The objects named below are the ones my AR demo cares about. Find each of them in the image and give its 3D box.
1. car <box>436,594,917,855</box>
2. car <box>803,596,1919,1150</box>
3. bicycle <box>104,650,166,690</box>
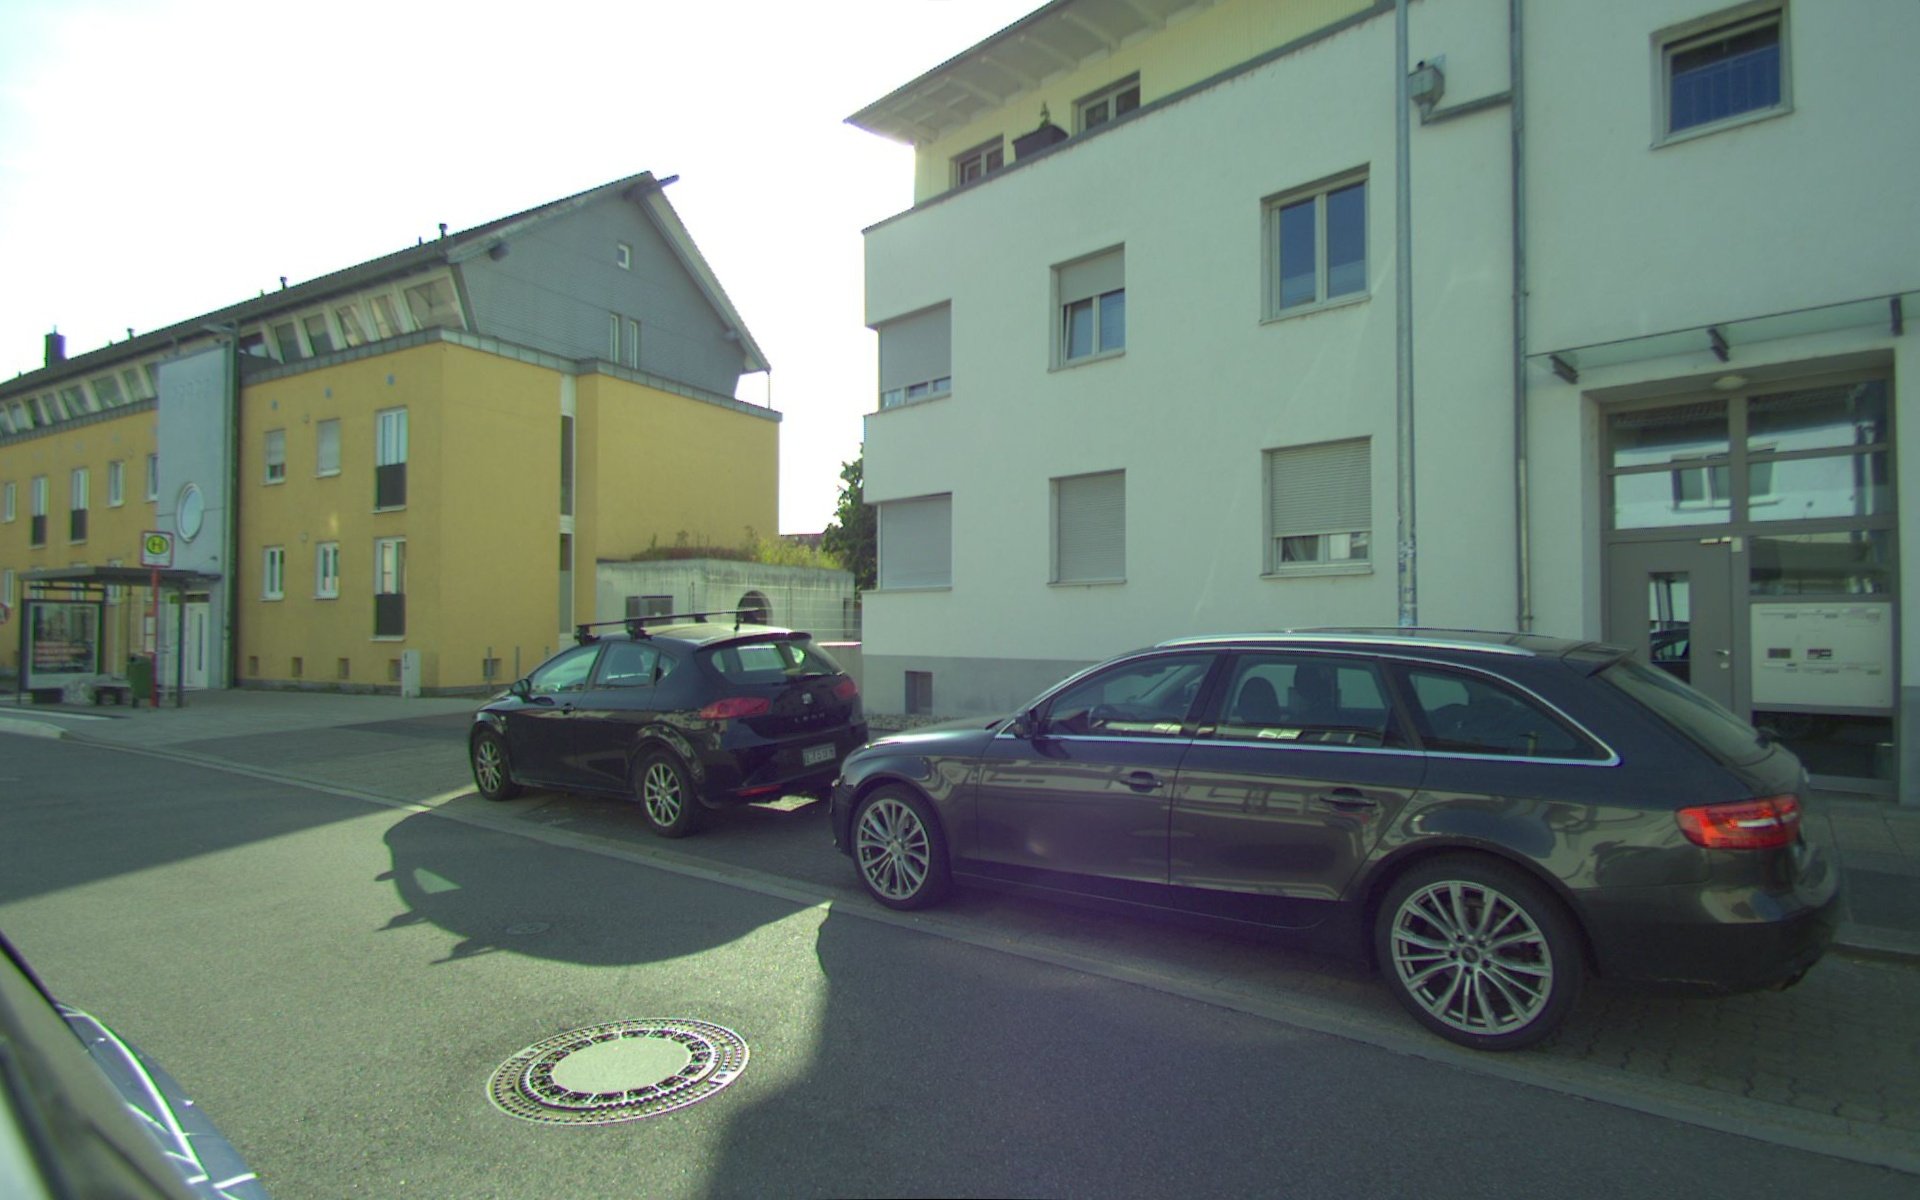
[{"bbox_3d":[-2.520,0.840,8.460,4.173,1.634,1.758,-2,0,39],"label":"car"},{"bbox_3d":[1.423,0.790,4.808,4.497,1.489,1.710,-2,-1,39],"label":"car"},{"bbox_3d":[-21.876,1.831,26.821,1.900,1.005,0.710,-2,-1,32],"label":"bicycle"}]
